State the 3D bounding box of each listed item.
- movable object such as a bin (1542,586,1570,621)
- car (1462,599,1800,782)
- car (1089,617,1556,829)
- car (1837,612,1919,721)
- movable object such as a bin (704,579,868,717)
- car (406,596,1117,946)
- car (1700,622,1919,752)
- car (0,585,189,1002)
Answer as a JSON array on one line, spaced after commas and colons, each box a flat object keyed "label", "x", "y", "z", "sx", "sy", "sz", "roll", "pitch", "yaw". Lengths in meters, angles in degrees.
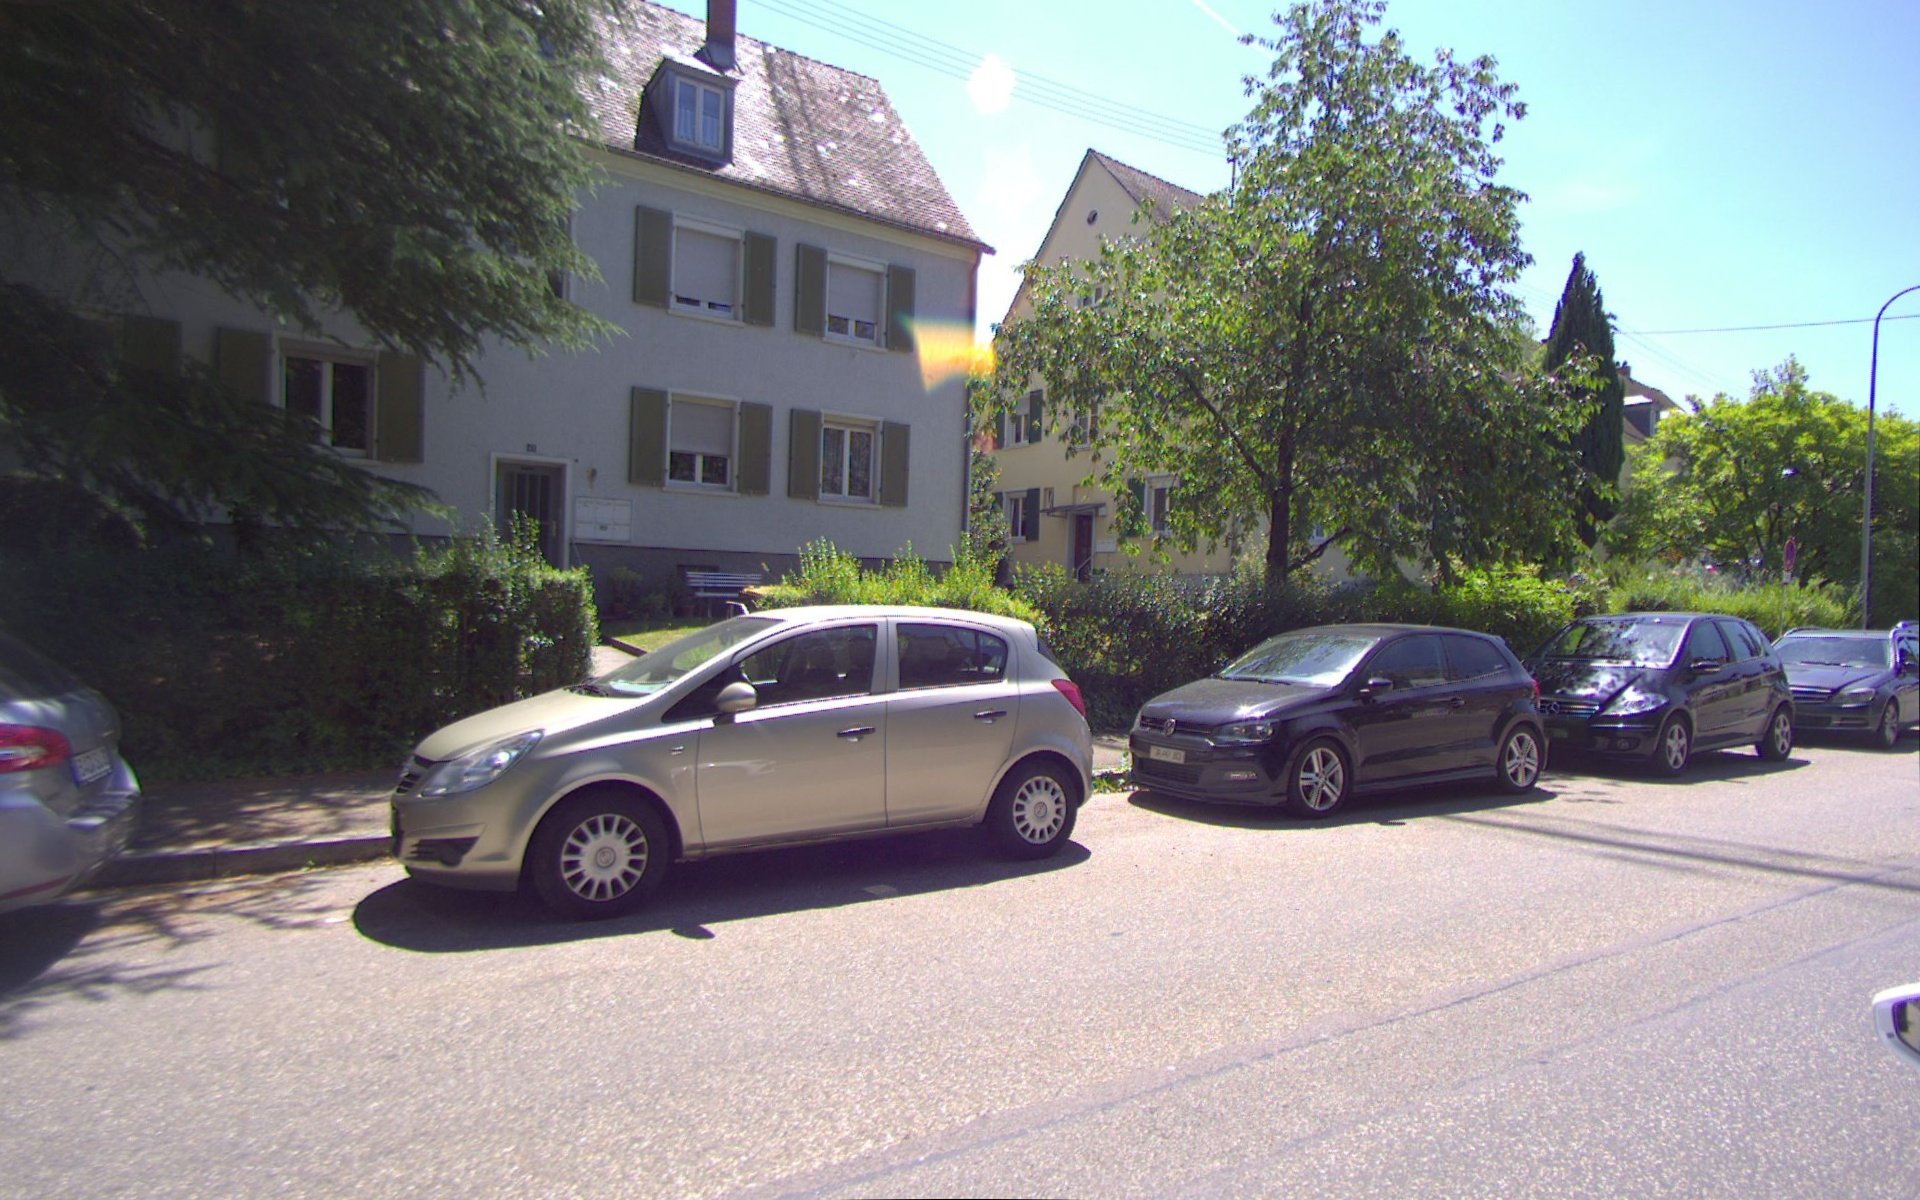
[{"label": "movable object such as a bin", "x": 21.326, "y": 0.116, "z": 35.949, "sx": 0.667, "sy": 1.212, "sz": 0.616, "roll": 1, "pitch": 1, "yaw": -36}, {"label": "car", "x": 7.310, "y": 0.871, "z": 10.874, "sx": 3.748, "sy": 1.661, "sz": 1.672, "roll": 2, "pitch": -1, "yaw": -32}, {"label": "car", "x": 3.104, "y": 0.891, "z": 8.470, "sx": 3.744, "sy": 1.420, "sz": 1.673, "roll": 2, "pitch": -1, "yaw": -30}, {"label": "car", "x": 16.356, "y": 1.077, "z": 16.713, "sx": 4.287, "sy": 1.659, "sz": 1.670, "roll": 2, "pitch": -1, "yaw": -35}, {"label": "movable object such as a bin", "x": -1.678, "y": 0.426, "z": 9.641, "sx": 1.280, "sy": 1.215, "sz": 0.968, "roll": 1, "pitch": 0, "yaw": 44}, {"label": "car", "x": -1.104, "y": 0.760, "z": 5.935, "sx": 3.741, "sy": 1.461, "sz": 1.787, "roll": 2, "pitch": -1, "yaw": -31}, {"label": "car", "x": 11.935, "y": 1.087, "z": 13.709, "sx": 4.287, "sy": 1.495, "sz": 1.670, "roll": 2, "pitch": -1, "yaw": -35}, {"label": "car", "x": -5.419, "y": 0.635, "z": 3.374, "sx": 4.221, "sy": 1.461, "sz": 1.788, "roll": 2, "pitch": -1, "yaw": -30}]
